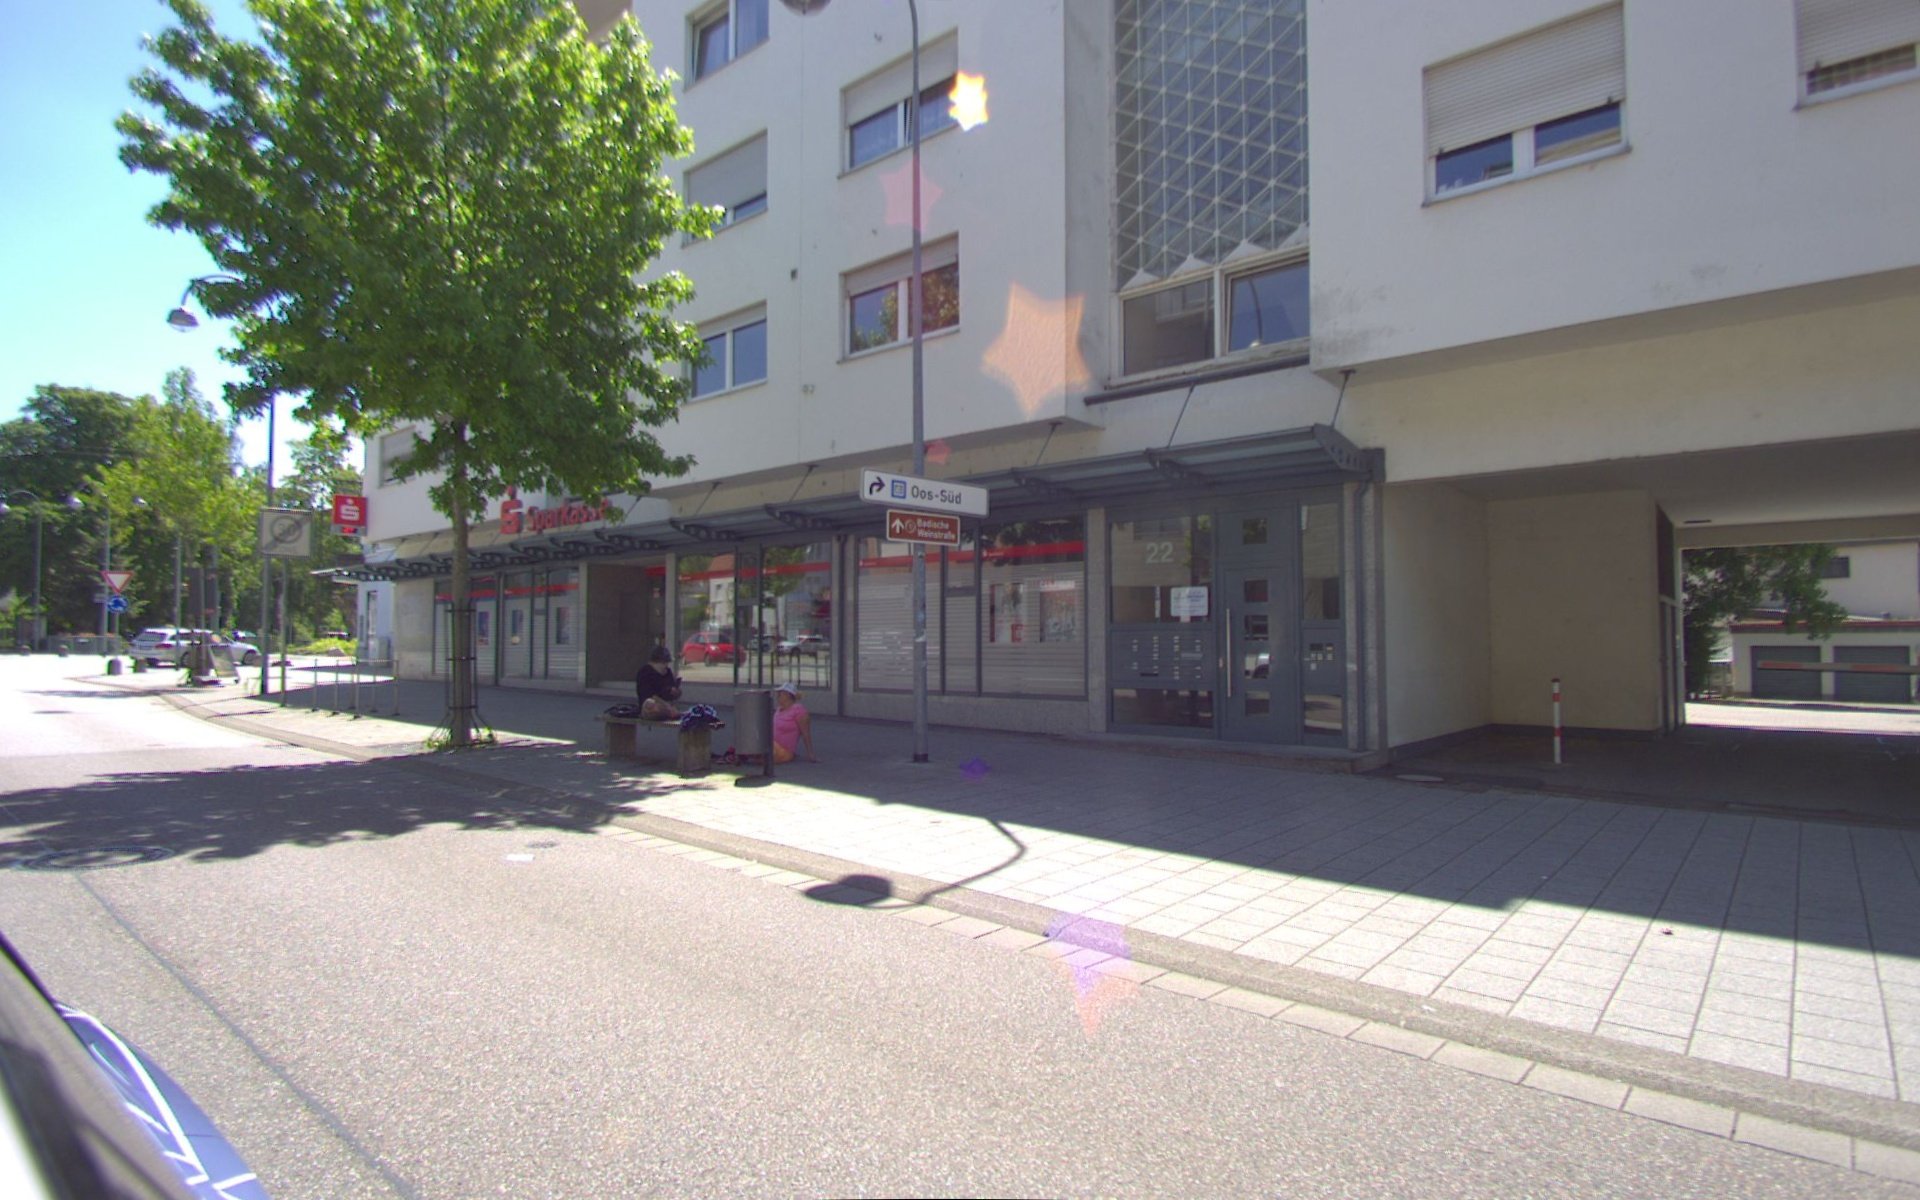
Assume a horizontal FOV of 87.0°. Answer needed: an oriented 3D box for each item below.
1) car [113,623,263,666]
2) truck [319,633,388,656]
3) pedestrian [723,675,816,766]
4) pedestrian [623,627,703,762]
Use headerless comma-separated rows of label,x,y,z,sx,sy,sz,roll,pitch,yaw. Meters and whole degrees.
car,-31.455,1.786,41.467,1.976,1.605,4.988,1,-2,6
truck,-67.566,4.947,112.877,6.112,2.462,2.271,1,-6,-17
pedestrian,-2.047,1.269,10.861,0.656,0.864,0.734,4,-1,-40
pedestrian,-3.188,0.996,10.848,0.560,1.382,0.668,4,-4,-40
